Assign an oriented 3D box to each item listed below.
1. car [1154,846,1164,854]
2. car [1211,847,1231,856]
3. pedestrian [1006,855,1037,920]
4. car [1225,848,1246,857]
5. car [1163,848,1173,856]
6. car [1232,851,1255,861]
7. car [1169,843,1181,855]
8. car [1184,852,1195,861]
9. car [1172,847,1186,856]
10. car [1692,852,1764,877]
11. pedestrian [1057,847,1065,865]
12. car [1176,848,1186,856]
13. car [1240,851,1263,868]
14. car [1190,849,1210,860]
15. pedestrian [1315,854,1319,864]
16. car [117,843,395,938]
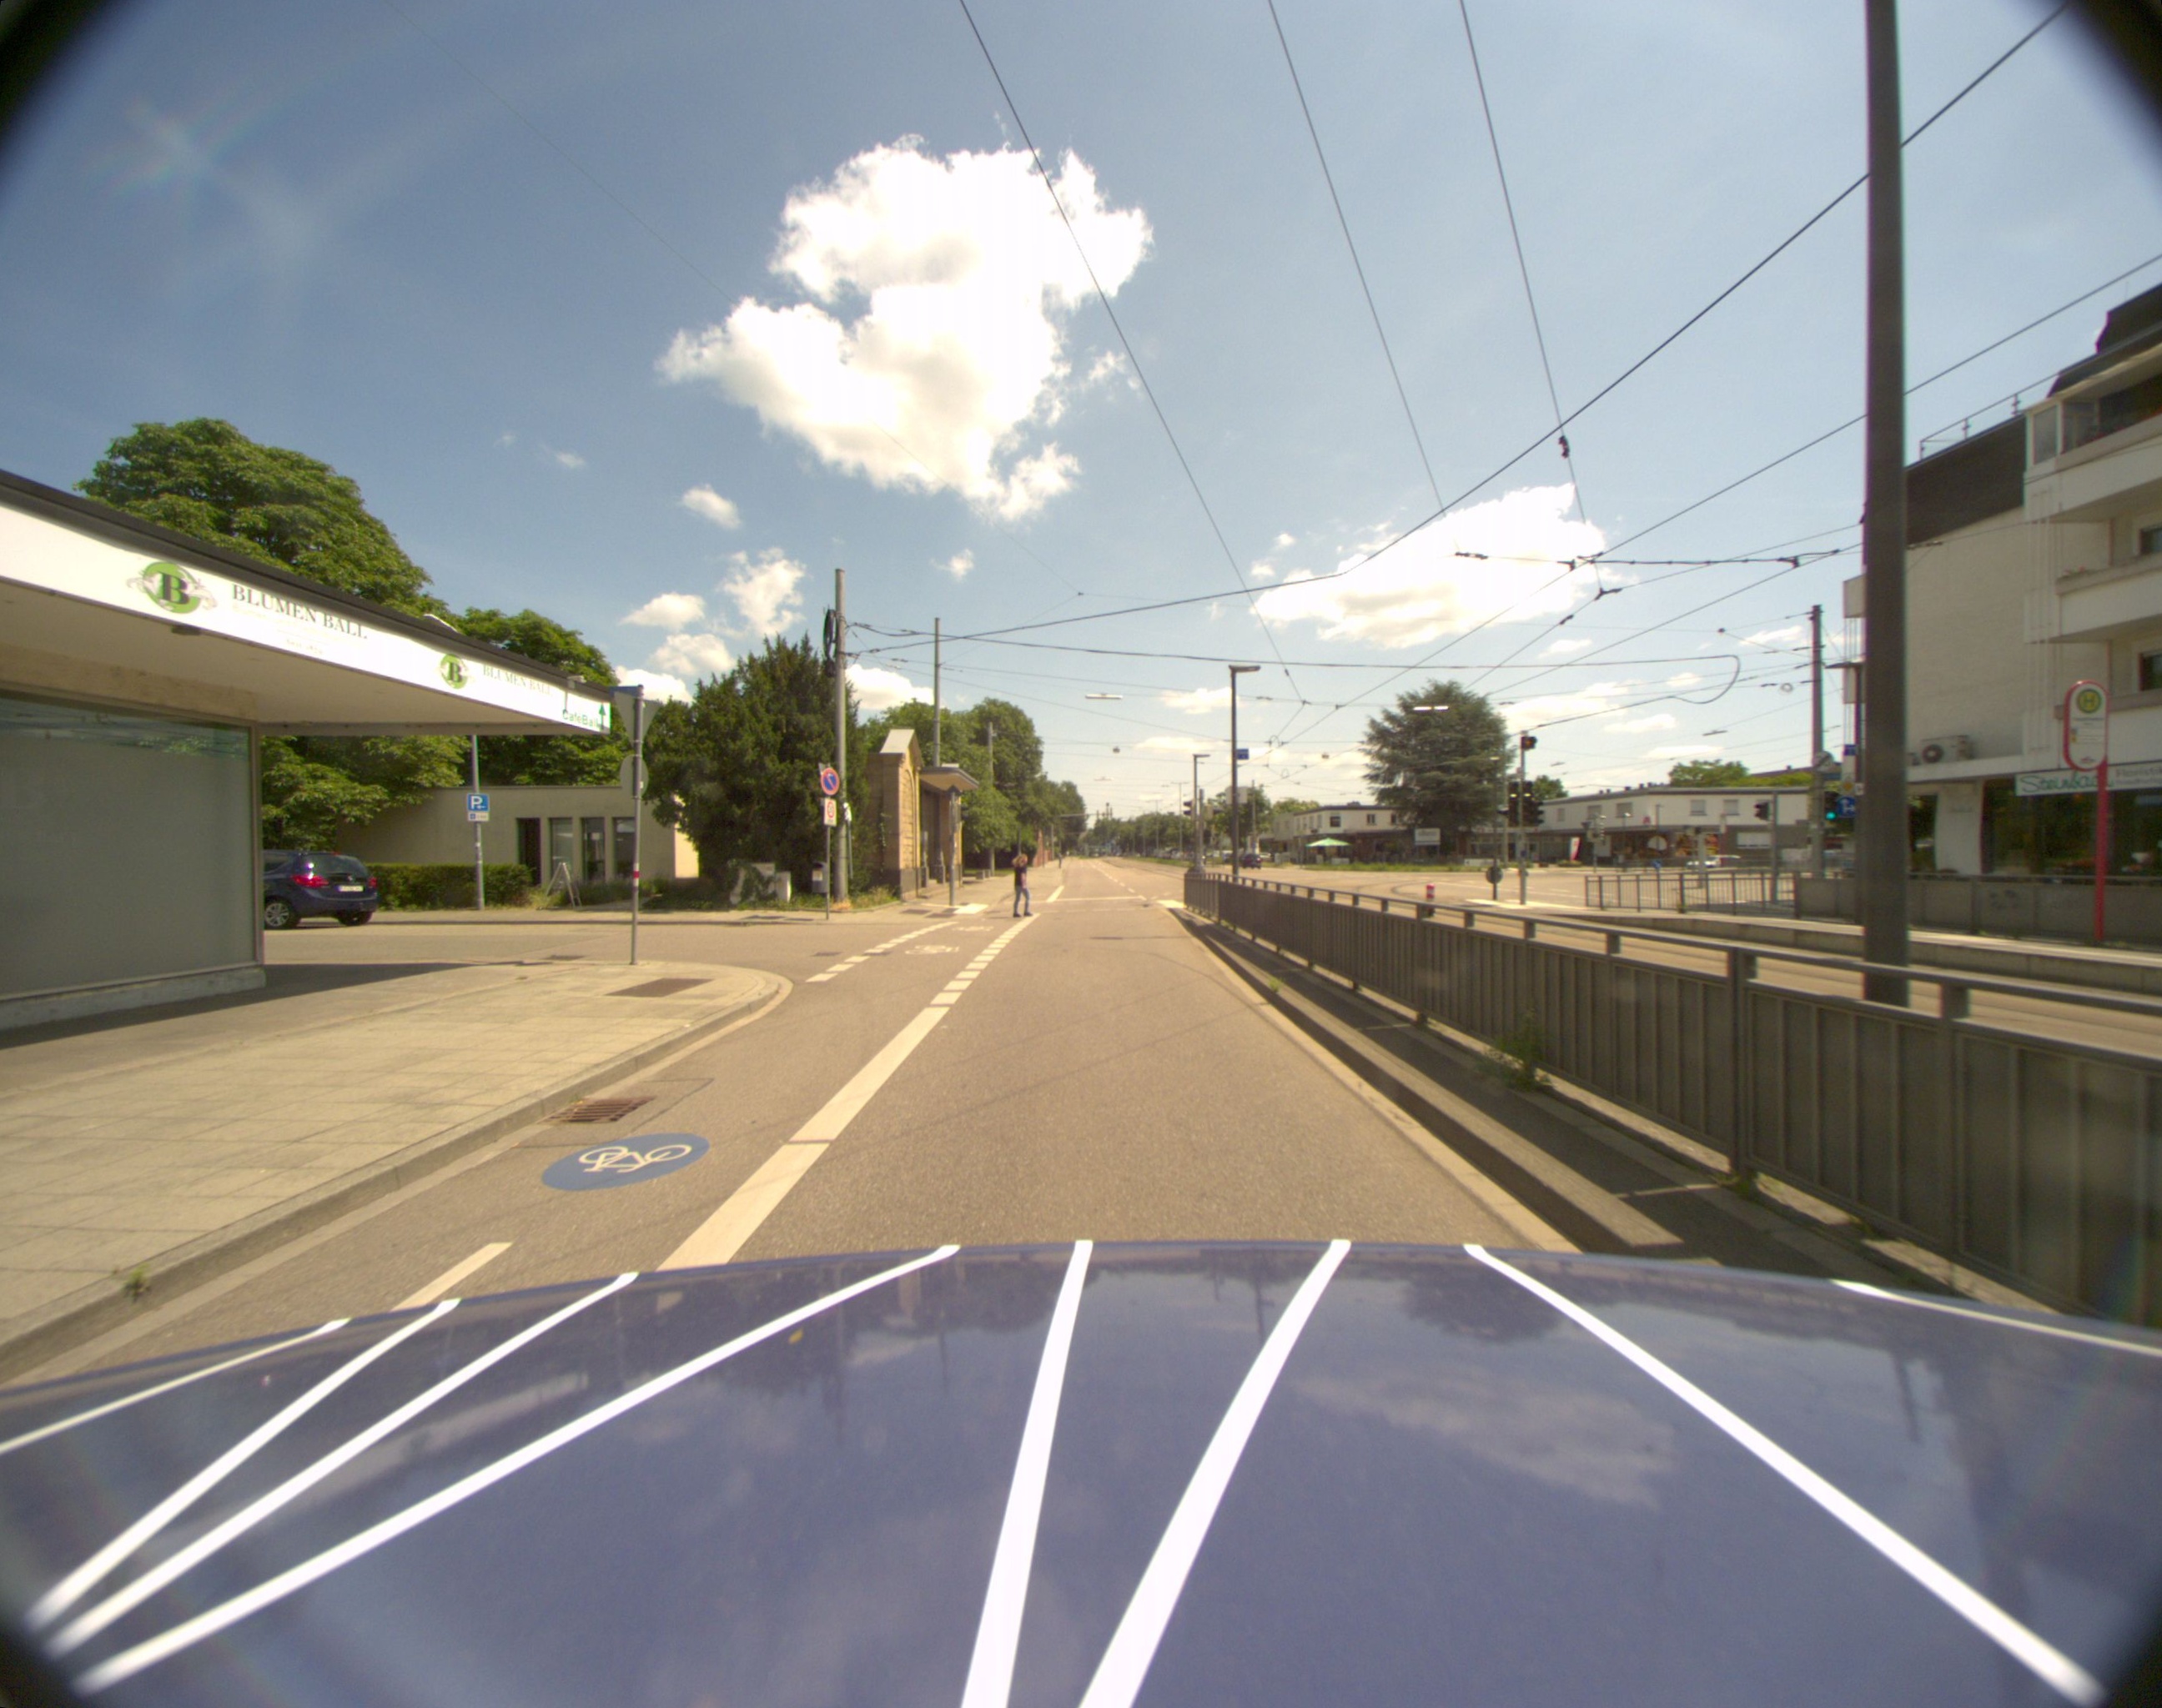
[{"bbox_3d":[20.811,-1.012,201.888,2.072,2.089,4.488,-1,0,-2],"label":"car"},{"bbox_3d":[30.193,-0.474,164.296,3.997,1.726,1.803,3,1,1],"label":"car"},{"bbox_3d":[-1.463,0.826,18.883,0.578,1.547,0.786,3,1,3],"label":"pedestrian"},{"bbox_3d":[32.272,-0.266,158.890,3.997,1.726,1.903,2,0,1],"label":"car"},{"bbox_3d":[20.831,-0.516,182.287,1.794,1.927,4.648,0,0,0],"label":"car"},{"bbox_3d":[31.030,0.338,145.515,3.997,1.726,1.879,2,0,1],"label":"car"},{"bbox_3d":[20.497,-1.107,166.156,2.156,2.596,5.033,0,0,0],"label":"car"},{"bbox_3d":[20.525,0.437,143.729,1.580,1.530,4.551,0,0,1],"label":"car"},{"bbox_3d":[20.637,-0.551,160.065,2.156,1.827,4.888,0,0,0],"label":"car"},{"bbox_3d":[50.774,0.806,59.686,3.850,1.714,1.900,3,1,1],"label":"car"},{"bbox_3d":[-2.086,0.244,78.642,0.767,1.841,0.717,2,0,-3],"label":"pedestrian"},{"bbox_3d":[20.182,-0.462,153.509,1.503,1.530,4.359,0,0,1],"label":"car"},{"bbox_3d":[17.289,0.530,77.224,1.727,1.673,4.281,1,0,4],"label":"car"},{"bbox_3d":[16.558,0.060,105.699,1.999,1.463,4.401,2,0,-1],"label":"car"},{"bbox_3d":[29.649,0.600,95.603,0.354,1.261,0.533,0,1,1],"label":"pedestrian"},{"bbox_3d":[-16.770,0.711,15.586,3.803,1.691,1.674,2,1,-1],"label":"car"}]
